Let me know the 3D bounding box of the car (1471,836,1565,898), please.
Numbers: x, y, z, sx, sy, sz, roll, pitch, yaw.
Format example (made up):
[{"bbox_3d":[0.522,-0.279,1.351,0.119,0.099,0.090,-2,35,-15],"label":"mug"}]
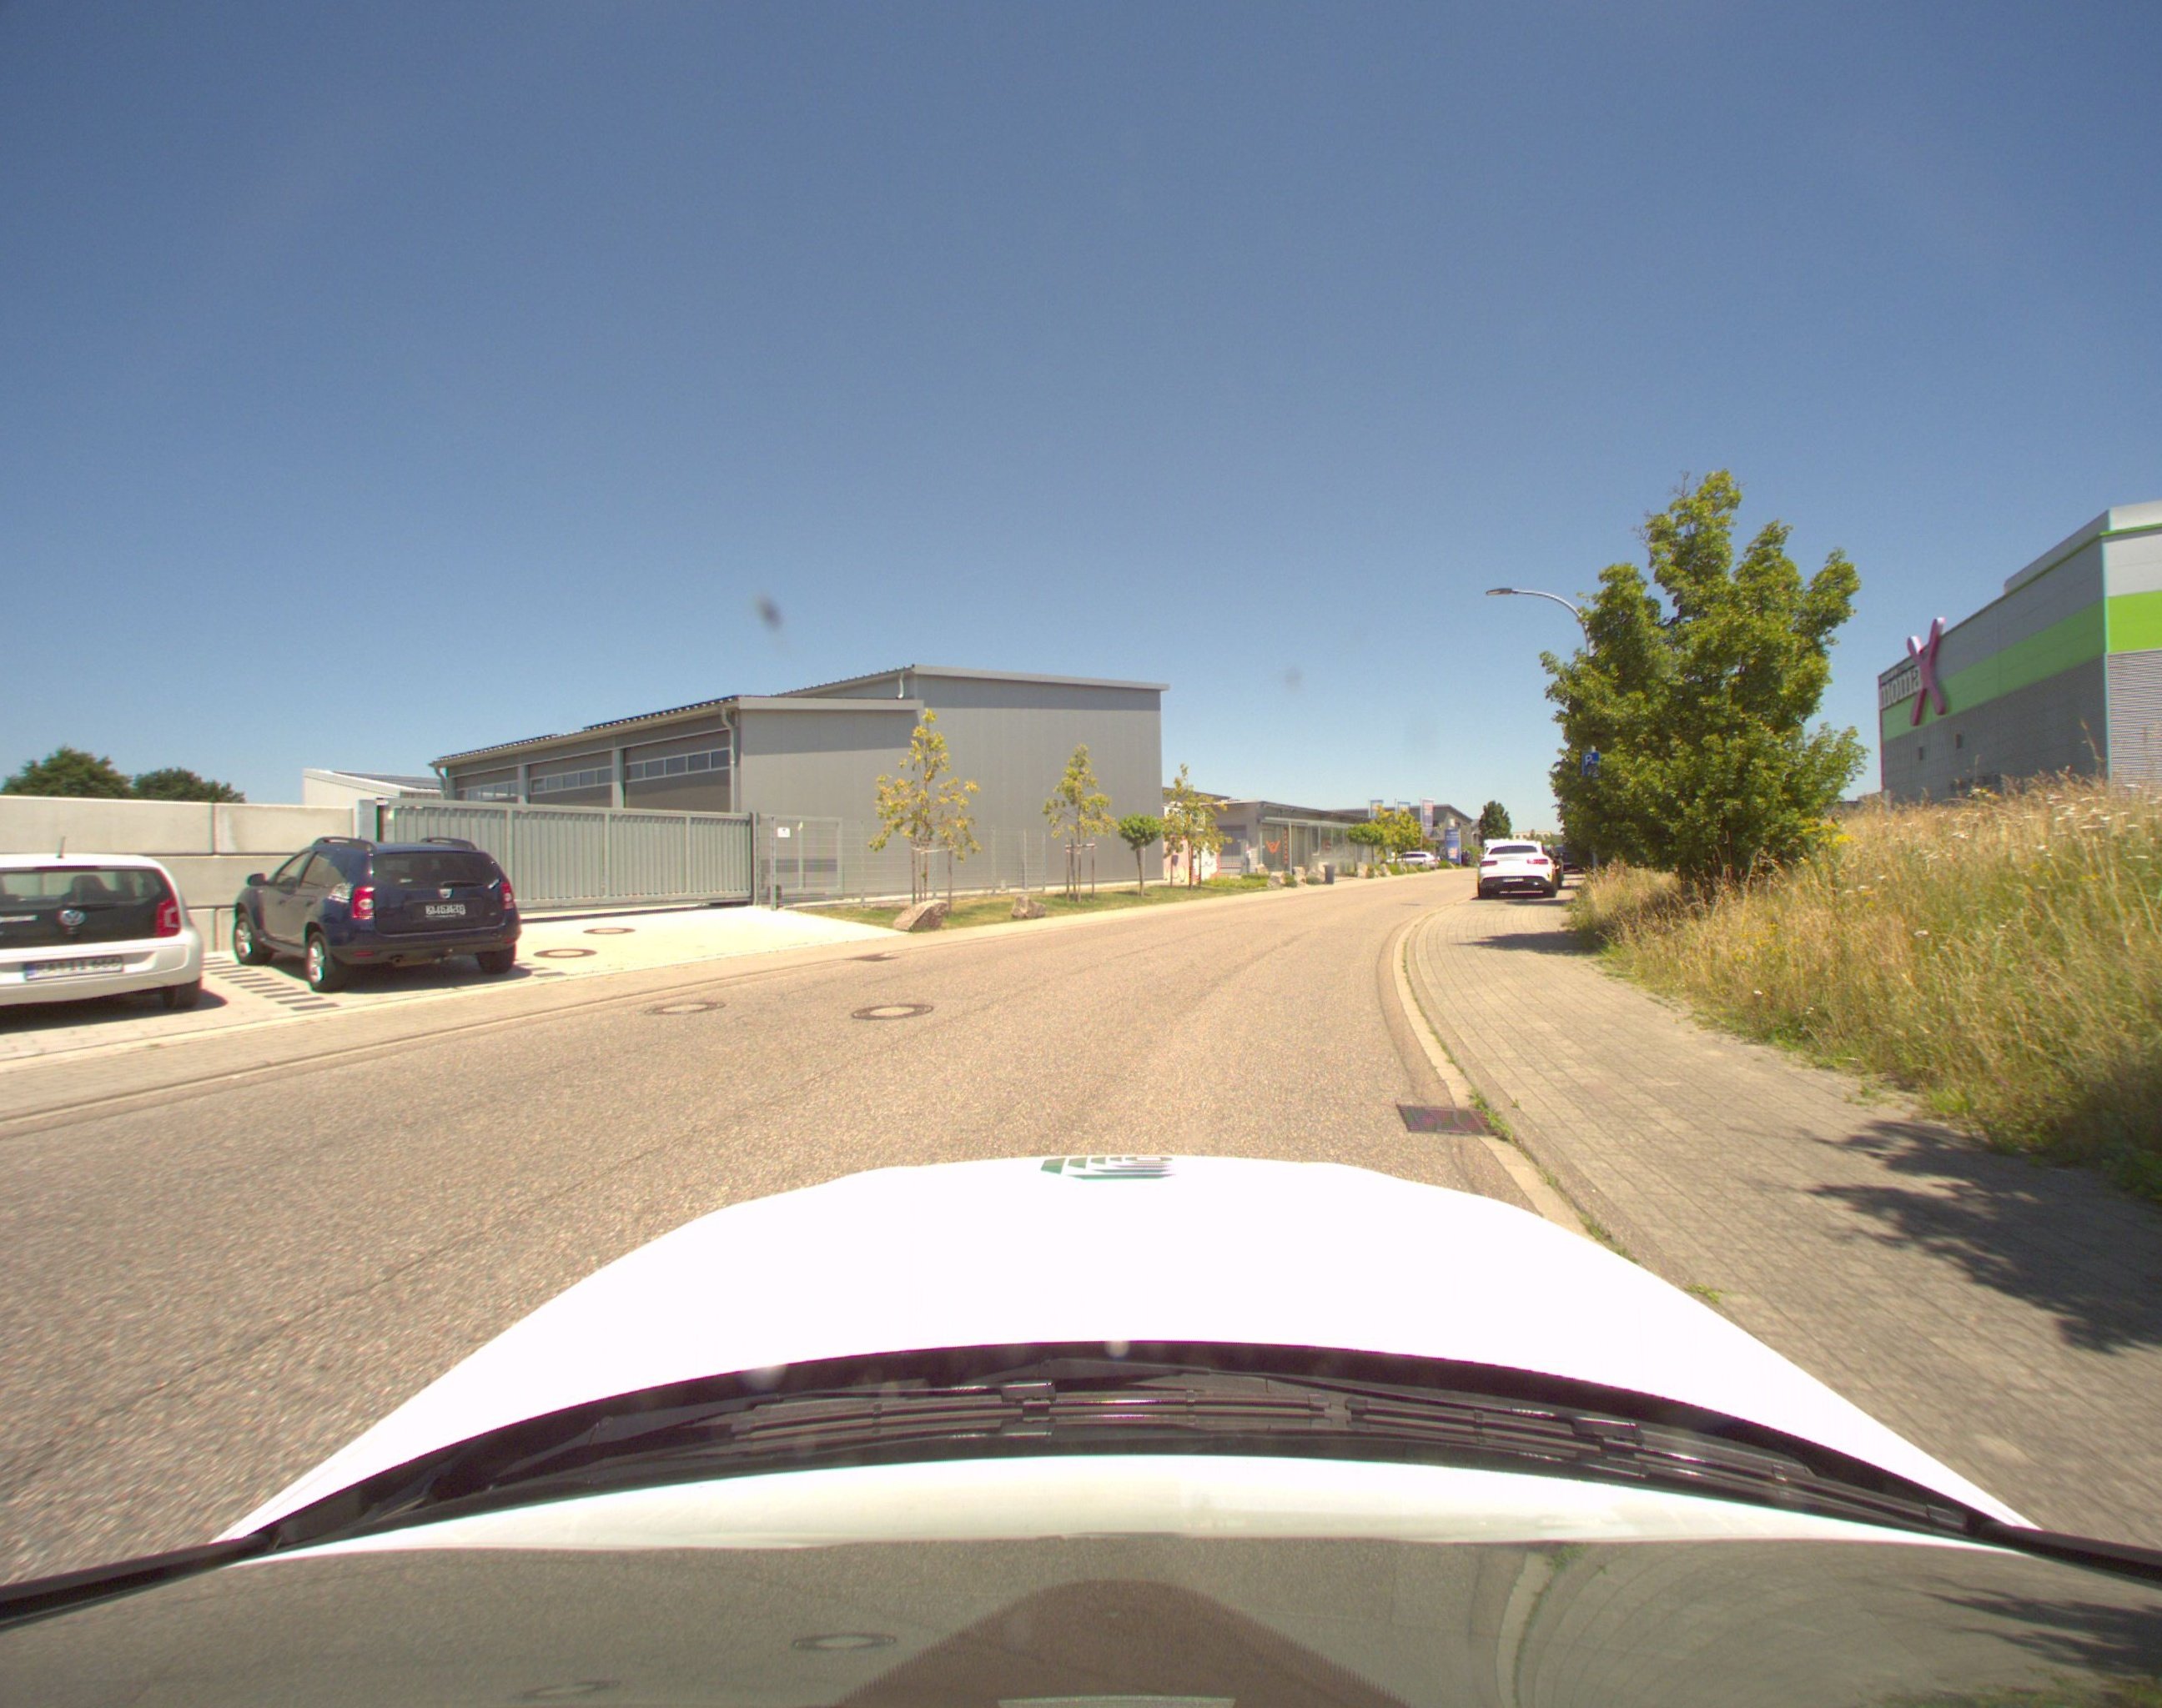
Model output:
[{"bbox_3d":[13.604,0.381,25.194,2.123,1.699,4.815,-3,-2,33],"label":"car"}]

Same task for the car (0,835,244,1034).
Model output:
[{"bbox_3d":[-9.969,0.633,7.925,3.329,1.461,1.793,4,2,31],"label":"car"}]

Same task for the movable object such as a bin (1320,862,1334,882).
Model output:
[{"bbox_3d":[11.678,0.867,38.676,0.565,0.949,0.515,-1,0,28],"label":"movable object such as a bin"}]

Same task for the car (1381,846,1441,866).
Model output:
[{"bbox_3d":[26.658,0.148,65.867,4.221,1.518,1.878,-1,-1,32],"label":"car"}]

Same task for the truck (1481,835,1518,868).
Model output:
[{"bbox_3d":[40.155,-0.203,77.998,2.338,2.860,6.455,-4,-3,33],"label":"truck"}]

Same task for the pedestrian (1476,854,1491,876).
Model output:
[{"bbox_3d":[30.278,0.823,61.192,0.890,1.574,0.790,1,0,34],"label":"pedestrian"}]

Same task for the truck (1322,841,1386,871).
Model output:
[{"bbox_3d":[33.698,0.253,100.791,2.592,3.557,7.992,0,0,-28],"label":"truck"}]

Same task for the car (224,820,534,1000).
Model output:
[{"bbox_3d":[-8.819,0.533,10.148,4.123,1.658,1.793,4,2,33],"label":"car"}]

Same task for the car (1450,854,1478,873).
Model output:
[{"bbox_3d":[40.066,0.960,85.162,1.974,1.956,5.251,-1,-1,33],"label":"car"}]

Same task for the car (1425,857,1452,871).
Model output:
[{"bbox_3d":[38.274,1.059,87.190,1.913,1.416,4.799,1,0,33],"label":"car"}]
